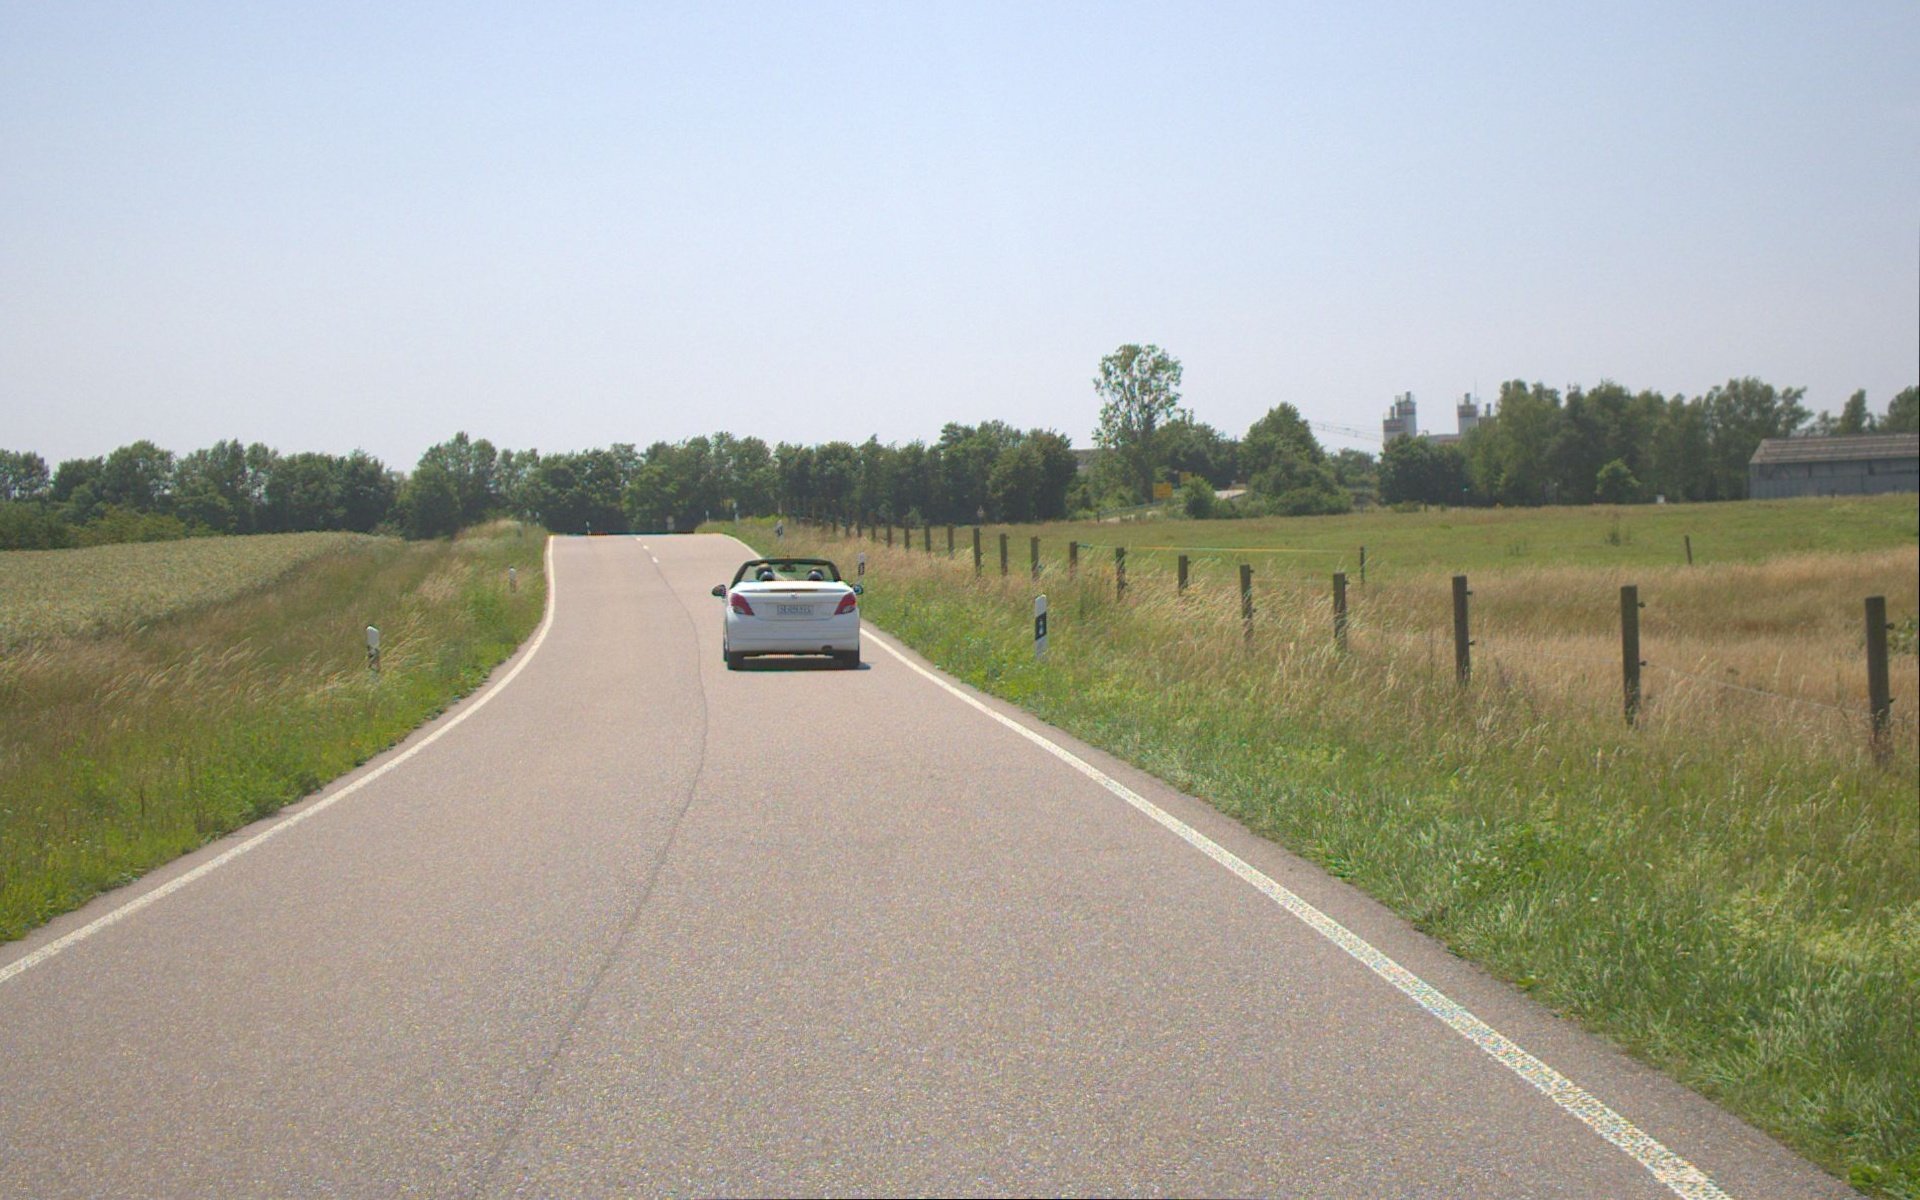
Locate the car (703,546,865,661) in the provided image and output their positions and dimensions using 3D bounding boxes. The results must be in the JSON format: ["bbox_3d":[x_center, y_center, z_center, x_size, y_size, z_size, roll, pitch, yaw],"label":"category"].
[{"bbox_3d":[-2.329,0.012,44.708,1.850,1.374,4.001,0,1,-6],"label":"car"}]
